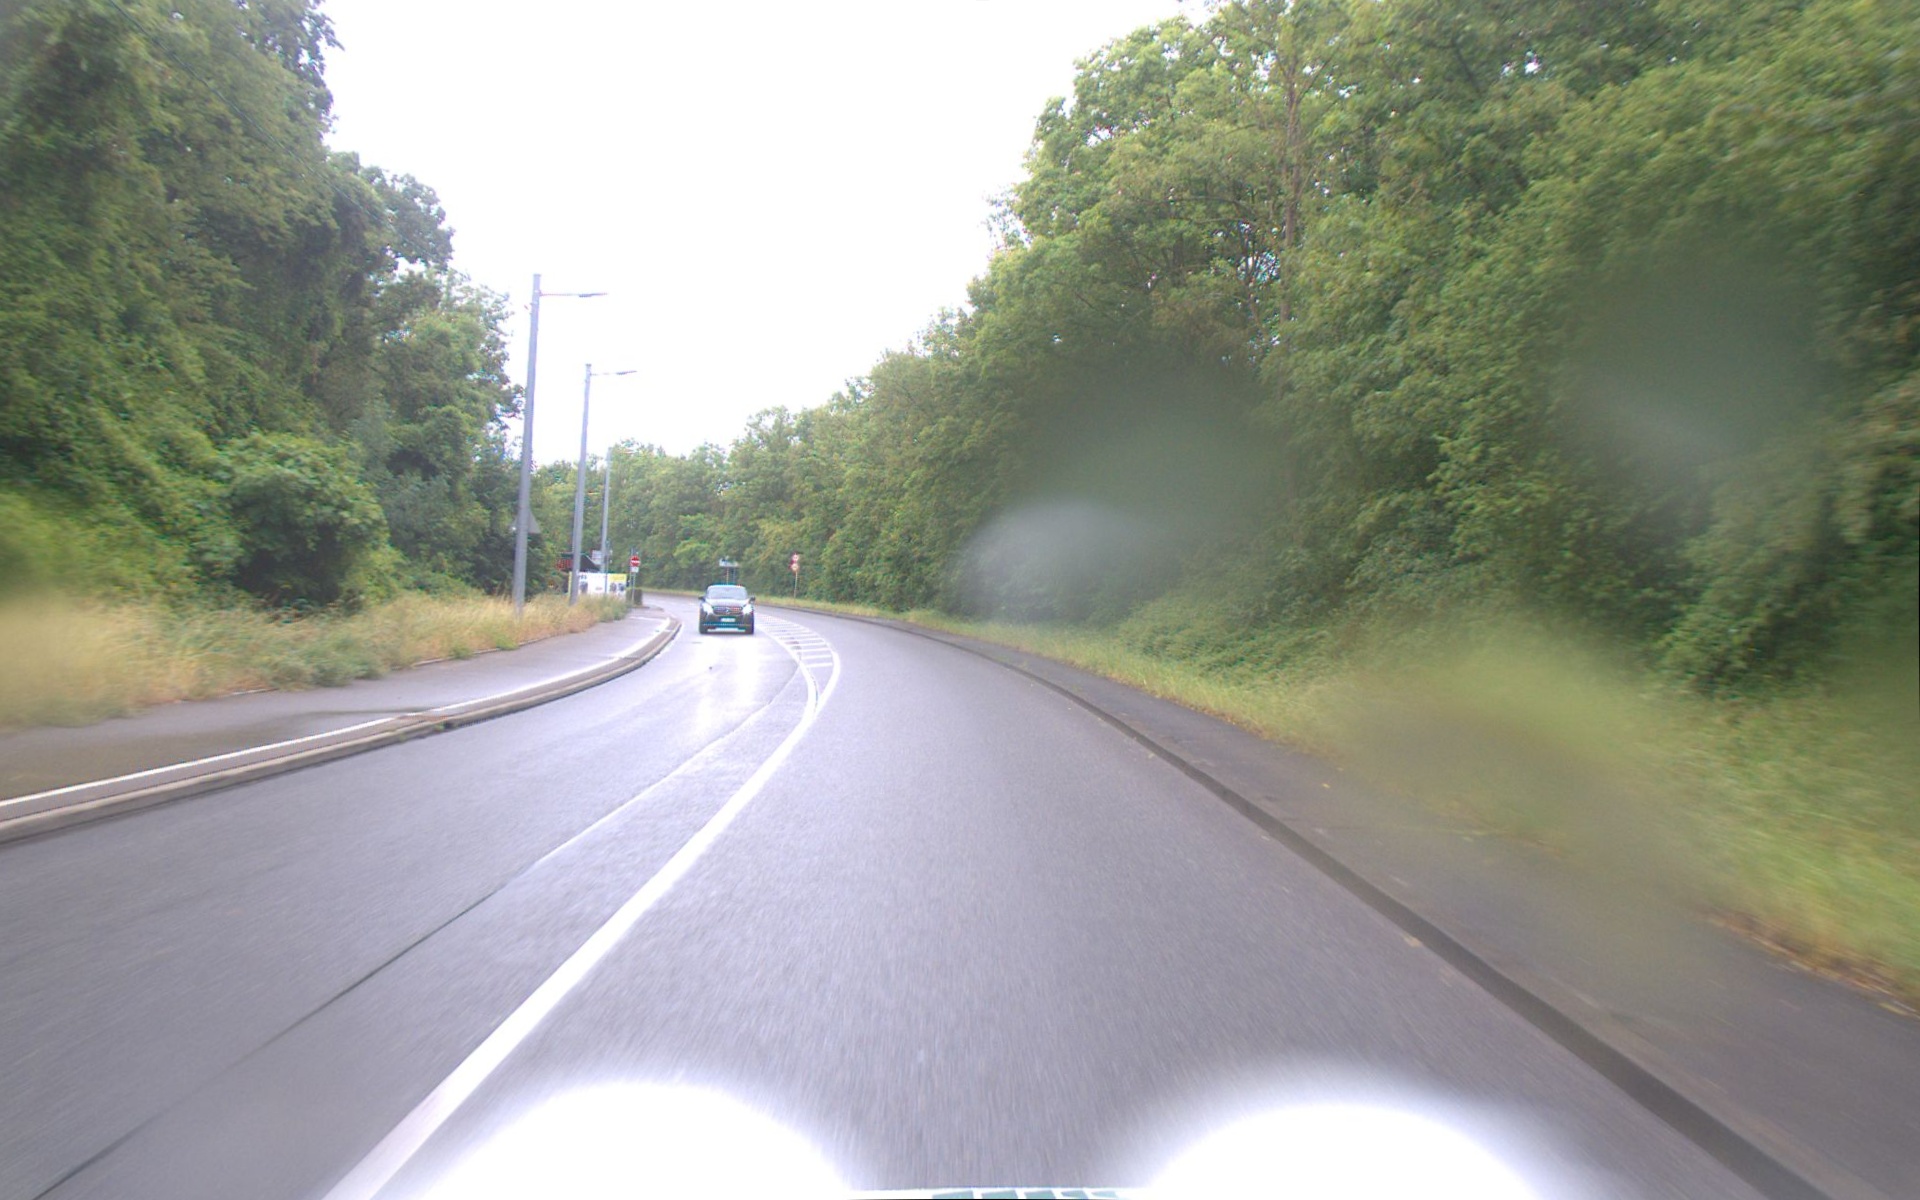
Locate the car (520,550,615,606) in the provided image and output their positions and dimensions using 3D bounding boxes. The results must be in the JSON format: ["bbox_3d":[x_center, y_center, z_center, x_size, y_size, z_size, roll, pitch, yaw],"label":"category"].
[{"bbox_3d":[-25.760,-1.434,108.479,5.860,3.563,1.988,1,0,-21],"label":"car"}]

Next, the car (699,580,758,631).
[{"bbox_3d":[-8.657,0.183,61.677,1.957,1.818,4.696,1,0,-10],"label":"car"}]
